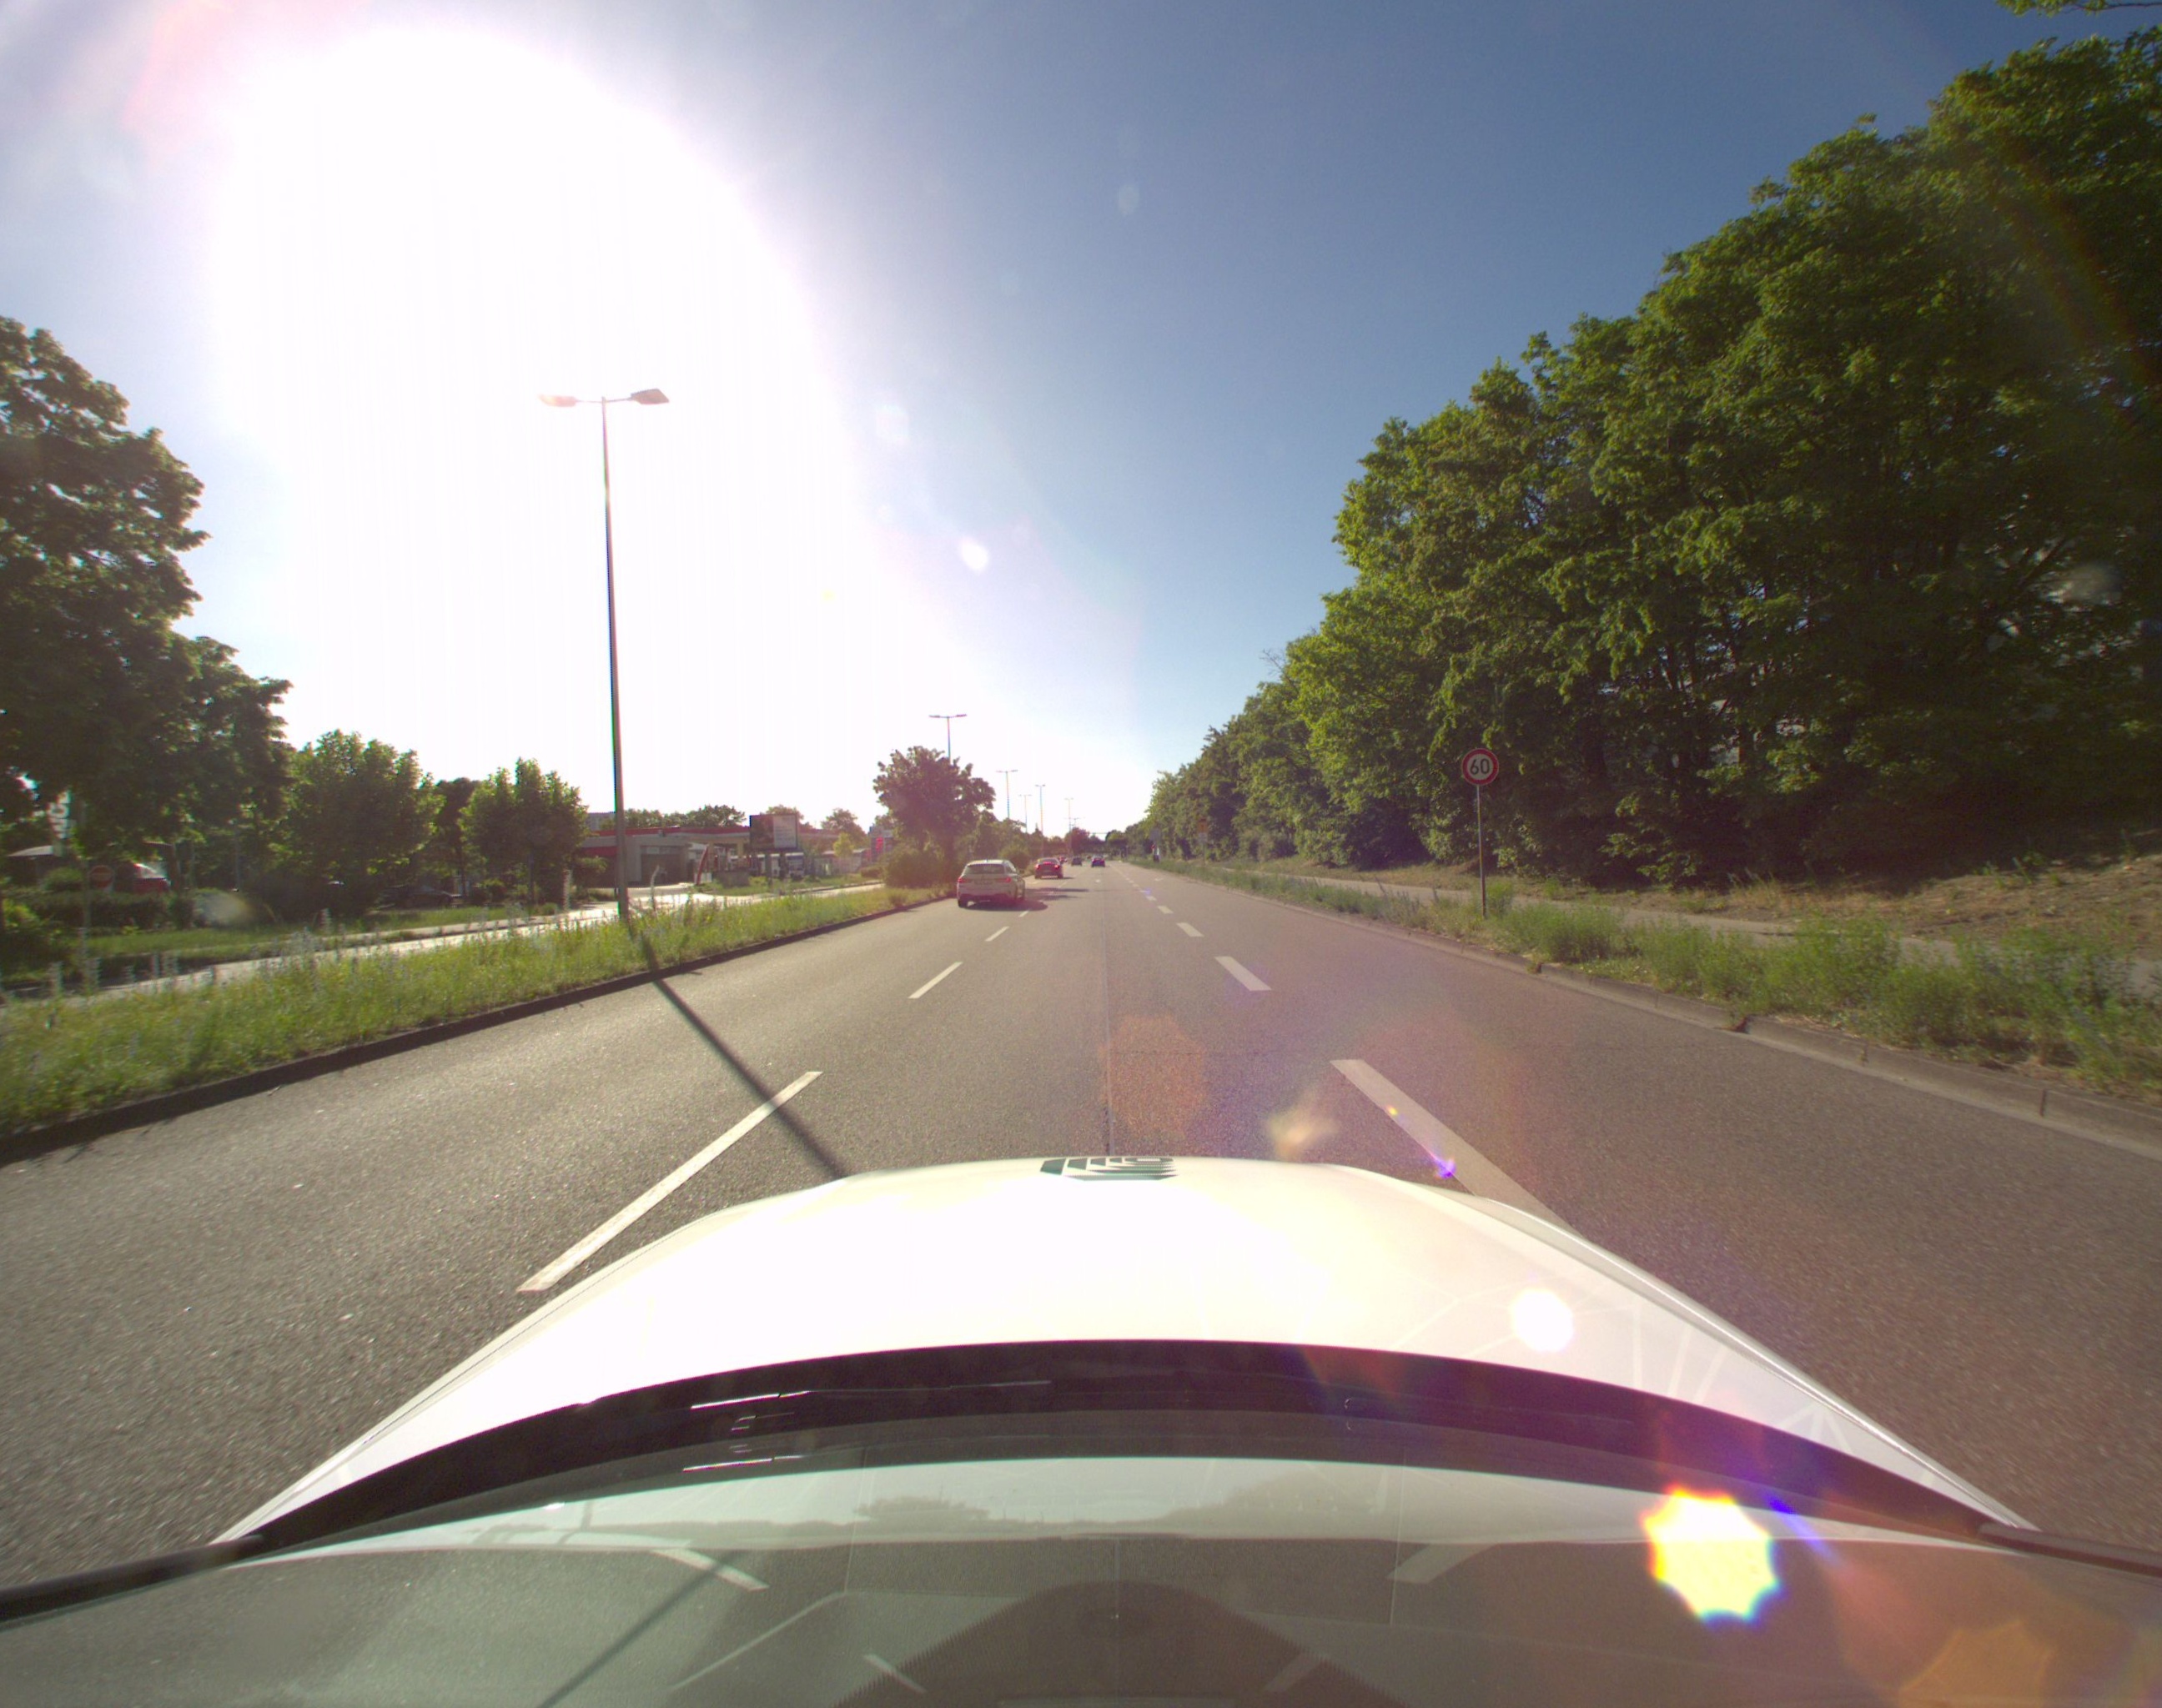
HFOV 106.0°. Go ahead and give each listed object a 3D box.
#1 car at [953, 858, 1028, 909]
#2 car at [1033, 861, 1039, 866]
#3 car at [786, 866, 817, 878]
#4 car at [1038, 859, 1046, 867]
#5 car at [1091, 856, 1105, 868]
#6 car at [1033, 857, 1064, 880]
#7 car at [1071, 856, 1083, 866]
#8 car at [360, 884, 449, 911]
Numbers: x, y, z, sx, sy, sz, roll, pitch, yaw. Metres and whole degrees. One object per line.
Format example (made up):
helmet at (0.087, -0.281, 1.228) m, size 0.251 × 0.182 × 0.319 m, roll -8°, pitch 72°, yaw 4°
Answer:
car at (-2.864, 0.893, 26.598) m, size 1.855 × 1.455 × 4.548 m, roll -1°, pitch 0°, yaw 1°
car at (-13.884, 2.813, 250.757) m, size 1.697 × 1.402 × 3.724 m, roll -2°, pitch 0°, yaw 1°
car at (-46.983, 3.035, 136.986) m, size 4.372 × 1.842 × 1.999 m, roll -2°, pitch 0°, yaw -2°
car at (-8.385, 1.905, 174.229) m, size 1.488 × 1.508 × 3.487 m, roll -2°, pitch 0°, yaw 1°
car at (2.357, 1.071, 111.656) m, size 1.855 × 1.499 × 4.337 m, roll -2°, pitch 0°, yaw 1°
car at (-2.277, 1.002, 57.721) m, size 1.855 × 1.455 × 4.548 m, roll -2°, pitch 0°, yaw 1°
car at (-0.673, 1.146, 135.369) m, size 1.855 × 1.565 × 4.548 m, roll -2°, pitch 0°, yaw 1°
car at (-39.241, 2.519, 47.361) m, size 1.782 × 1.310 × 3.932 m, roll -2°, pitch 0°, yaw 1°
